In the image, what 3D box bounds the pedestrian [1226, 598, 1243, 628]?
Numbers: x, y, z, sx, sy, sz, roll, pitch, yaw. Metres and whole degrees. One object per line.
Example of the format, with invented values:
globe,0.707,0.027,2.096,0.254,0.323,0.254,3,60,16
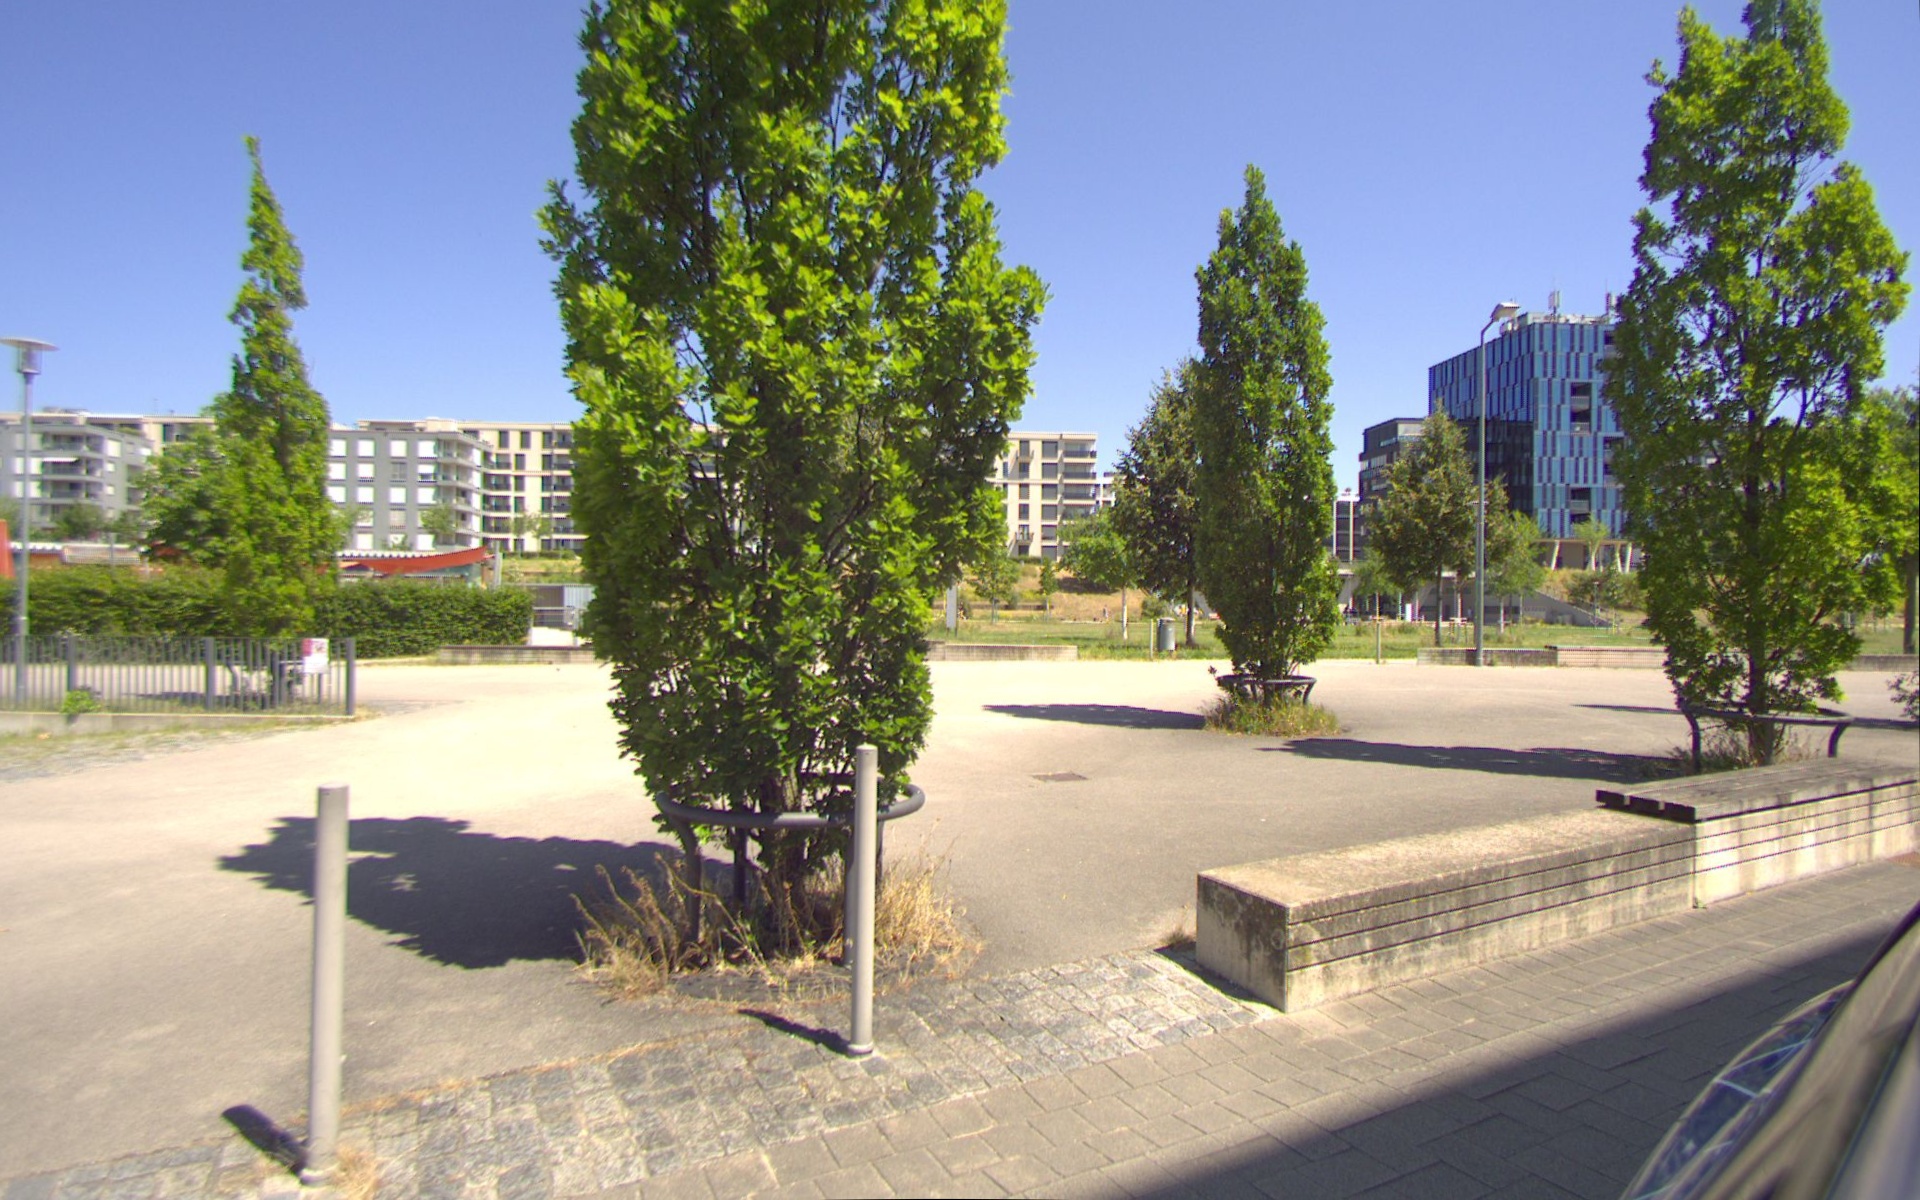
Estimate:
pedestrian,16.369,0.783,60.258,0.811,1.749,0.606,-1,-1,40
